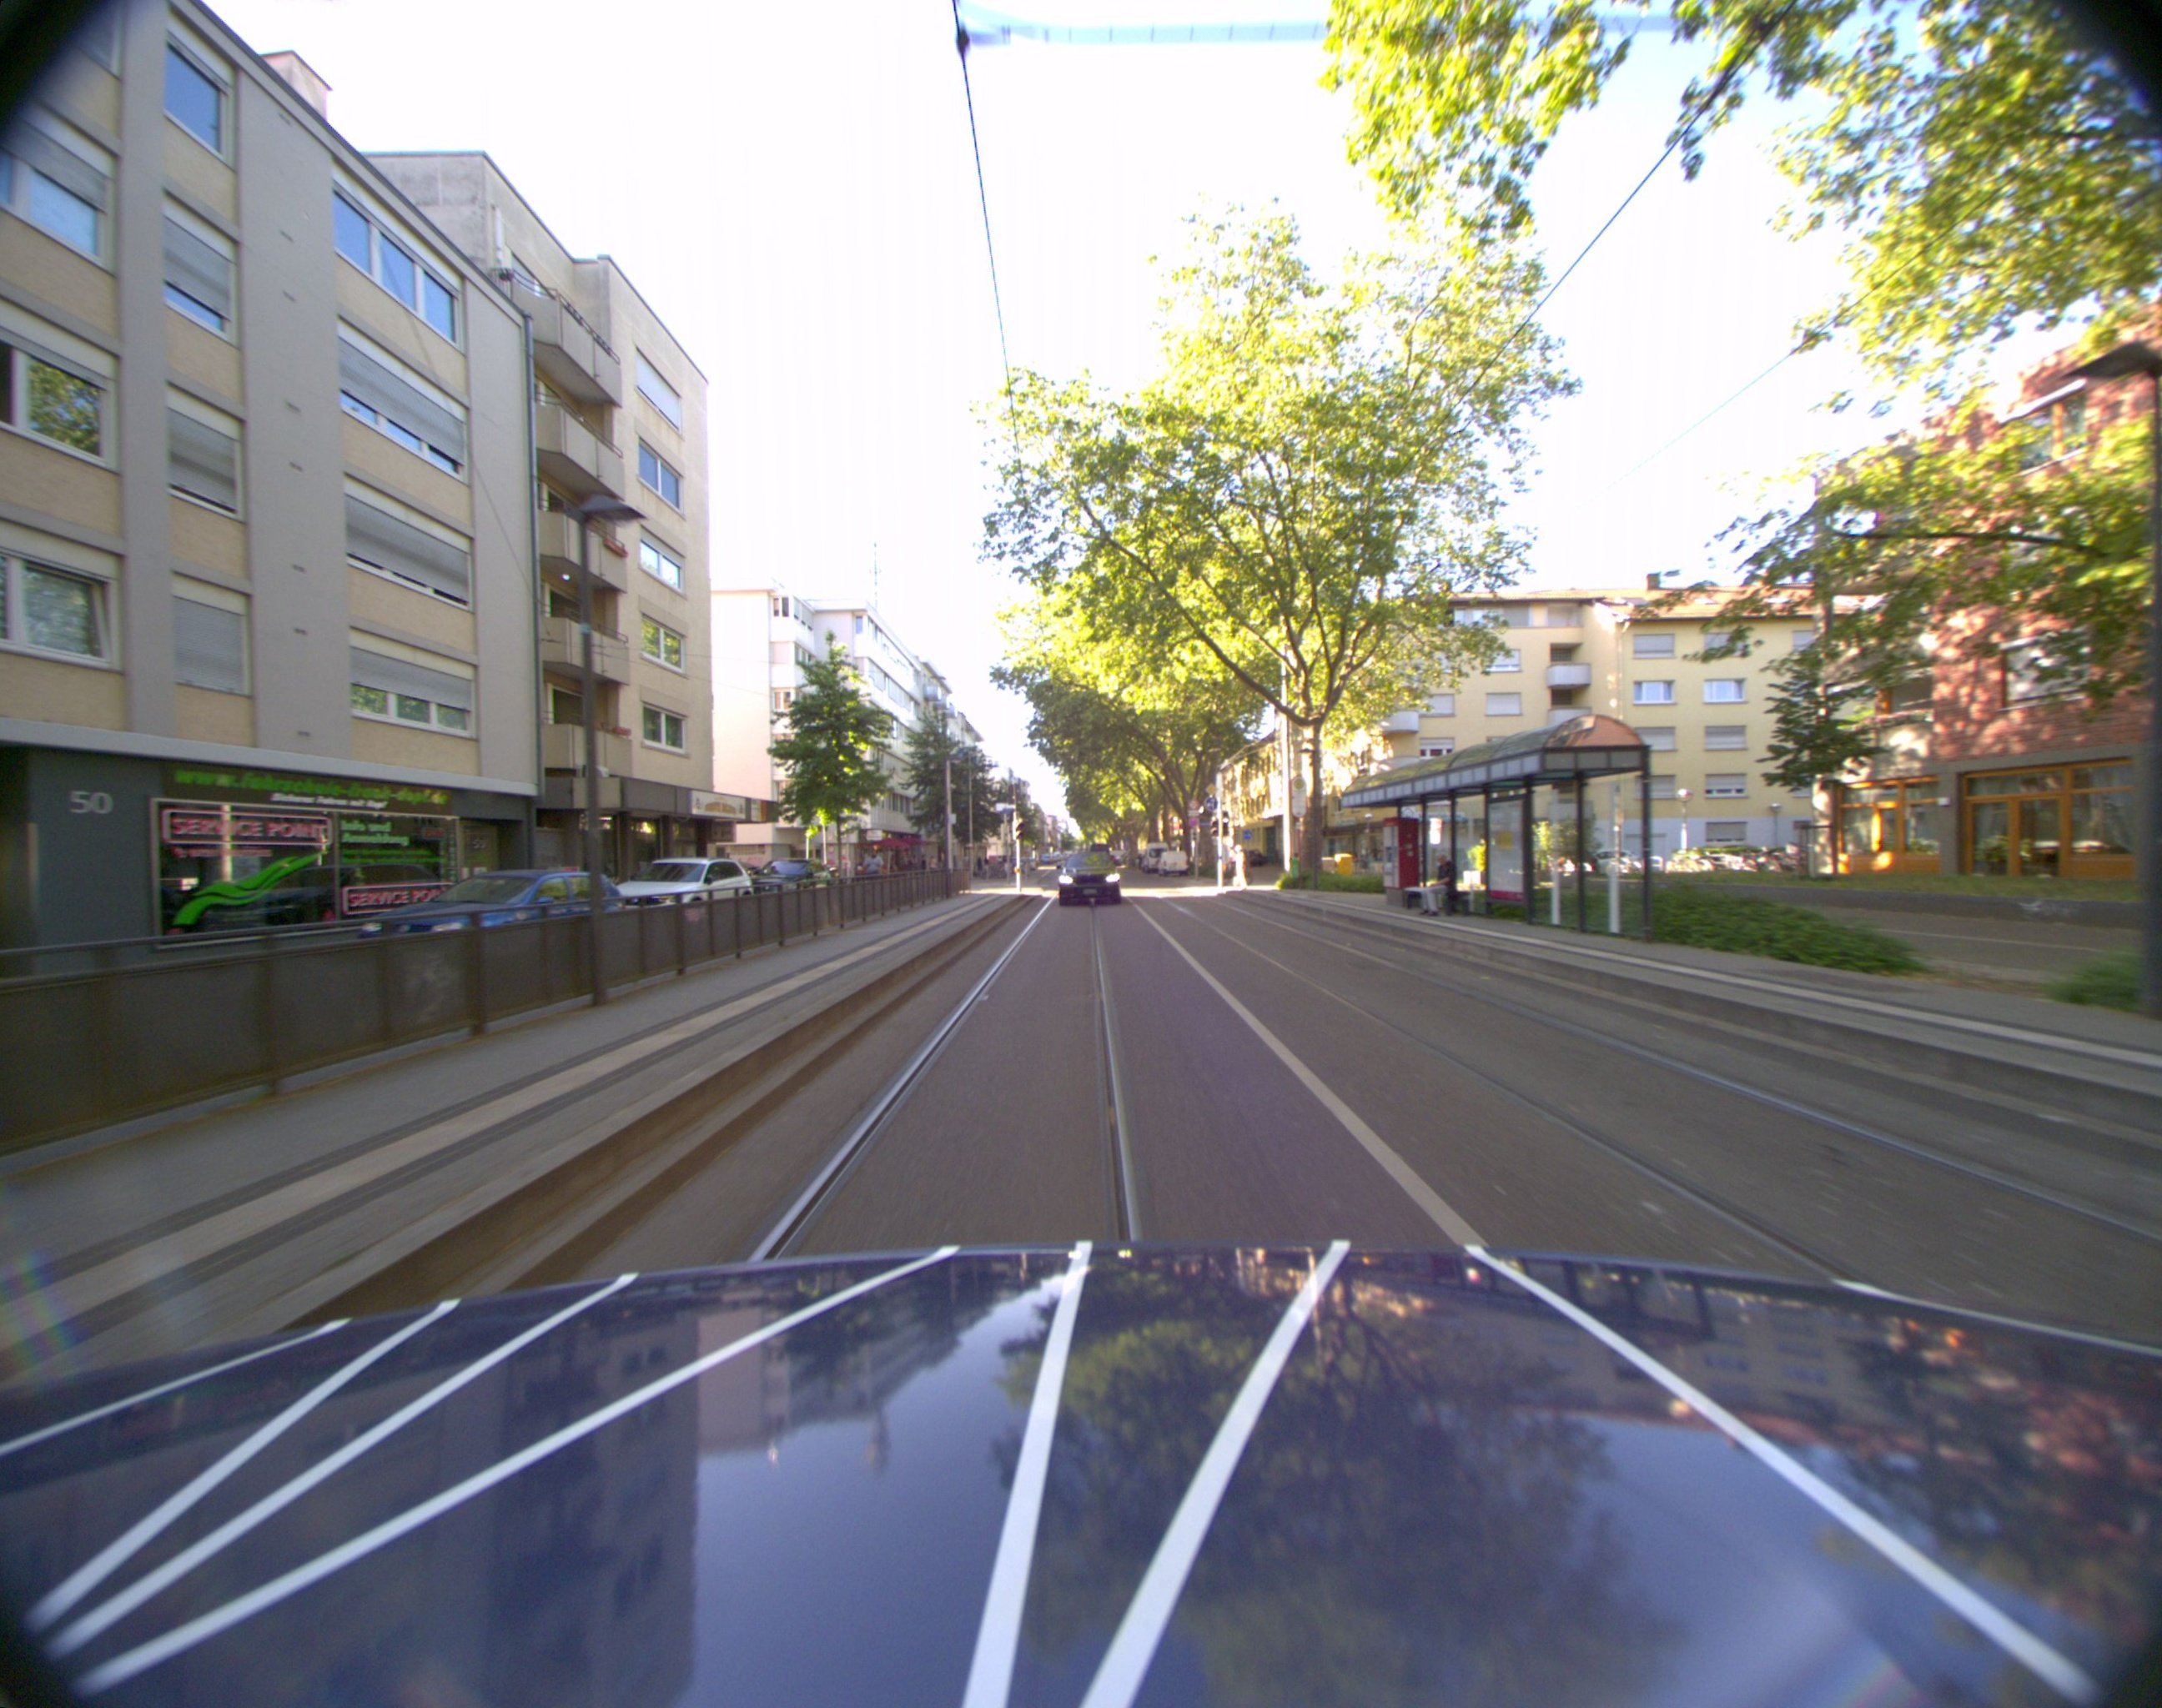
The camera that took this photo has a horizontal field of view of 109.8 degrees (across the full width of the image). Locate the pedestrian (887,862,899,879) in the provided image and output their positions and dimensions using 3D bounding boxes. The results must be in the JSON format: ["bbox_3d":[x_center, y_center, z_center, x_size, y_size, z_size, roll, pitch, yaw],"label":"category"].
[{"bbox_3d":[-12.349,1.083,49.917,0.643,1.072,0.522,-2,1,-1],"label":"pedestrian"}]

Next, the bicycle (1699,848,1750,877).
[{"bbox_3d":[24.708,0.307,29.206,0.543,1.078,1.638,-2,1,-1],"label":"bicycle"}]

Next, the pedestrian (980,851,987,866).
[{"bbox_3d":[-10.836,0.527,84.335,0.597,1.668,0.934,1,1,-2],"label":"pedestrian"}]

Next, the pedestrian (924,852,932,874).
[{"bbox_3d":[-12.546,0.711,62.272,0.432,1.786,0.489,-2,1,-1],"label":"pedestrian"}]

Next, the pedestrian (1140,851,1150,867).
[{"bbox_3d":[6.942,0.573,82.294,0.768,1.725,0.715,-1,2,42],"label":"pedestrian"}]

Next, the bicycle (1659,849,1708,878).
[{"bbox_3d":[23.271,0.354,29.363,0.543,1.078,1.638,-1,0,-1],"label":"bicycle"}]

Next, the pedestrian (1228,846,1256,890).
[{"bbox_3d":[6.733,0.572,31.813,0.926,1.825,0.920,-2,1,-3],"label":"pedestrian"}]

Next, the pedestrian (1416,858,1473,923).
[{"bbox_3d":[6.735,0.667,14.104,0.707,1.162,0.659,0,1,-3],"label":"pedestrian"}]

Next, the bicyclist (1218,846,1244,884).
[{"bbox_3d":[7.068,0.512,35.766,0.948,1.753,0.786,-1,1,27],"label":"bicyclist"}]

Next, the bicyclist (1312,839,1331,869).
[{"bbox_3d":[14.418,-0.005,45.542,0.776,1.740,0.997,-2,1,-1],"label":"bicyclist"}]

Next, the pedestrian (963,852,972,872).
[{"bbox_3d":[-10.515,0.754,70.623,0.593,1.774,0.993,-2,1,-19],"label":"pedestrian"}]

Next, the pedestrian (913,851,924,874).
[{"bbox_3d":[-13.067,0.693,61.164,0.525,1.795,0.633,-1,2,44],"label":"pedestrian"}]

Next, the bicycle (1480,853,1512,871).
[{"bbox_3d":[25.167,0.492,46.056,1.637,1.078,0.543,-1,0,2],"label":"bicycle"}]

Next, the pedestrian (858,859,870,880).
[{"bbox_3d":[-13.723,0.980,48.071,0.536,1.280,0.715,-2,1,2],"label":"pedestrian"}]

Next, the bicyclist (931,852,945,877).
[{"bbox_3d":[-10.126,0.753,53.897,0.678,1.707,0.965,-2,1,3],"label":"bicyclist"}]

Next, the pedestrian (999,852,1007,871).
[{"bbox_3d":[-7.743,0.780,75.150,0.538,1.841,0.664,-1,1,12],"label":"pedestrian"}]

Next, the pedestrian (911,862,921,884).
[{"bbox_3d":[-12.810,1.466,58.985,0.508,1.619,0.517,-3,2,-37],"label":"pedestrian"}]

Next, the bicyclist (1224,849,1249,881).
[{"bbox_3d":[7.702,0.552,37.626,0.991,1.539,0.683,-1,1,30],"label":"bicyclist"}]

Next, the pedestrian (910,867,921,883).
[{"bbox_3d":[-12.862,1.636,59.057,0.510,1.269,0.624,-3,1,-37],"label":"pedestrian"}]

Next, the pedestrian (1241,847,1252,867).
[{"bbox_3d":[15.388,0.288,70.617,0.746,1.859,0.863,-2,1,-2],"label":"pedestrian"}]

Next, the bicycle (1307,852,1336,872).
[{"bbox_3d":[14.416,0.450,45.629,0.784,1.104,2.595,-2,1,-2],"label":"bicycle"}]

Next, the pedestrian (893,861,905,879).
[{"bbox_3d":[-12.446,1.072,51.975,0.660,1.168,0.522,-2,1,-1],"label":"pedestrian"}]

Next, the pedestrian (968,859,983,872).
[{"bbox_3d":[-8.788,0.970,63.145,0.999,1.021,0.662,-1,1,26],"label":"pedestrian"}]

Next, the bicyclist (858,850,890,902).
[{"bbox_3d":[-7.405,0.771,27.191,0.769,1.821,1.099,-2,1,1],"label":"bicyclist"}]

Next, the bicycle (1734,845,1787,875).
[{"bbox_3d":[26.050,0.218,29.166,0.543,1.078,1.638,-2,1,-1],"label":"bicycle"}]

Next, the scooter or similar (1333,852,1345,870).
[{"bbox_3d":[17.536,0.467,51.624,0.642,1.160,0.676,-1,1,27],"label":"scooter or similar"}]

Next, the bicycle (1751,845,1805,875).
[{"bbox_3d":[26.778,0.218,29.211,0.543,1.078,1.638,-2,1,-1],"label":"bicycle"}]

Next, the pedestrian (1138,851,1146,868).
[{"bbox_3d":[6.528,0.600,81.383,0.769,1.767,0.714,-2,1,9],"label":"pedestrian"}]

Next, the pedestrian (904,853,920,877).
[{"bbox_3d":[-11.898,0.791,53.507,0.813,1.649,0.679,-2,1,4],"label":"pedestrian"}]

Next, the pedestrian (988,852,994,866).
[{"bbox_3d":[-9.985,0.547,84.400,0.643,1.628,0.869,1,1,-1],"label":"pedestrian"}]

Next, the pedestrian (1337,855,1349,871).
[{"bbox_3d":[17.766,0.601,51.510,0.580,1.041,0.711,-2,1,-1],"label":"pedestrian"}]

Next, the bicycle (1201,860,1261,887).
[{"bbox_3d":[7.063,0.911,35.792,2.589,1.184,0.786,-2,1,27],"label":"bicycle"}]

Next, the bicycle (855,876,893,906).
[{"bbox_3d":[-7.387,1.298,27.220,0.790,0.932,1.939,-2,1,1],"label":"bicycle"}]
